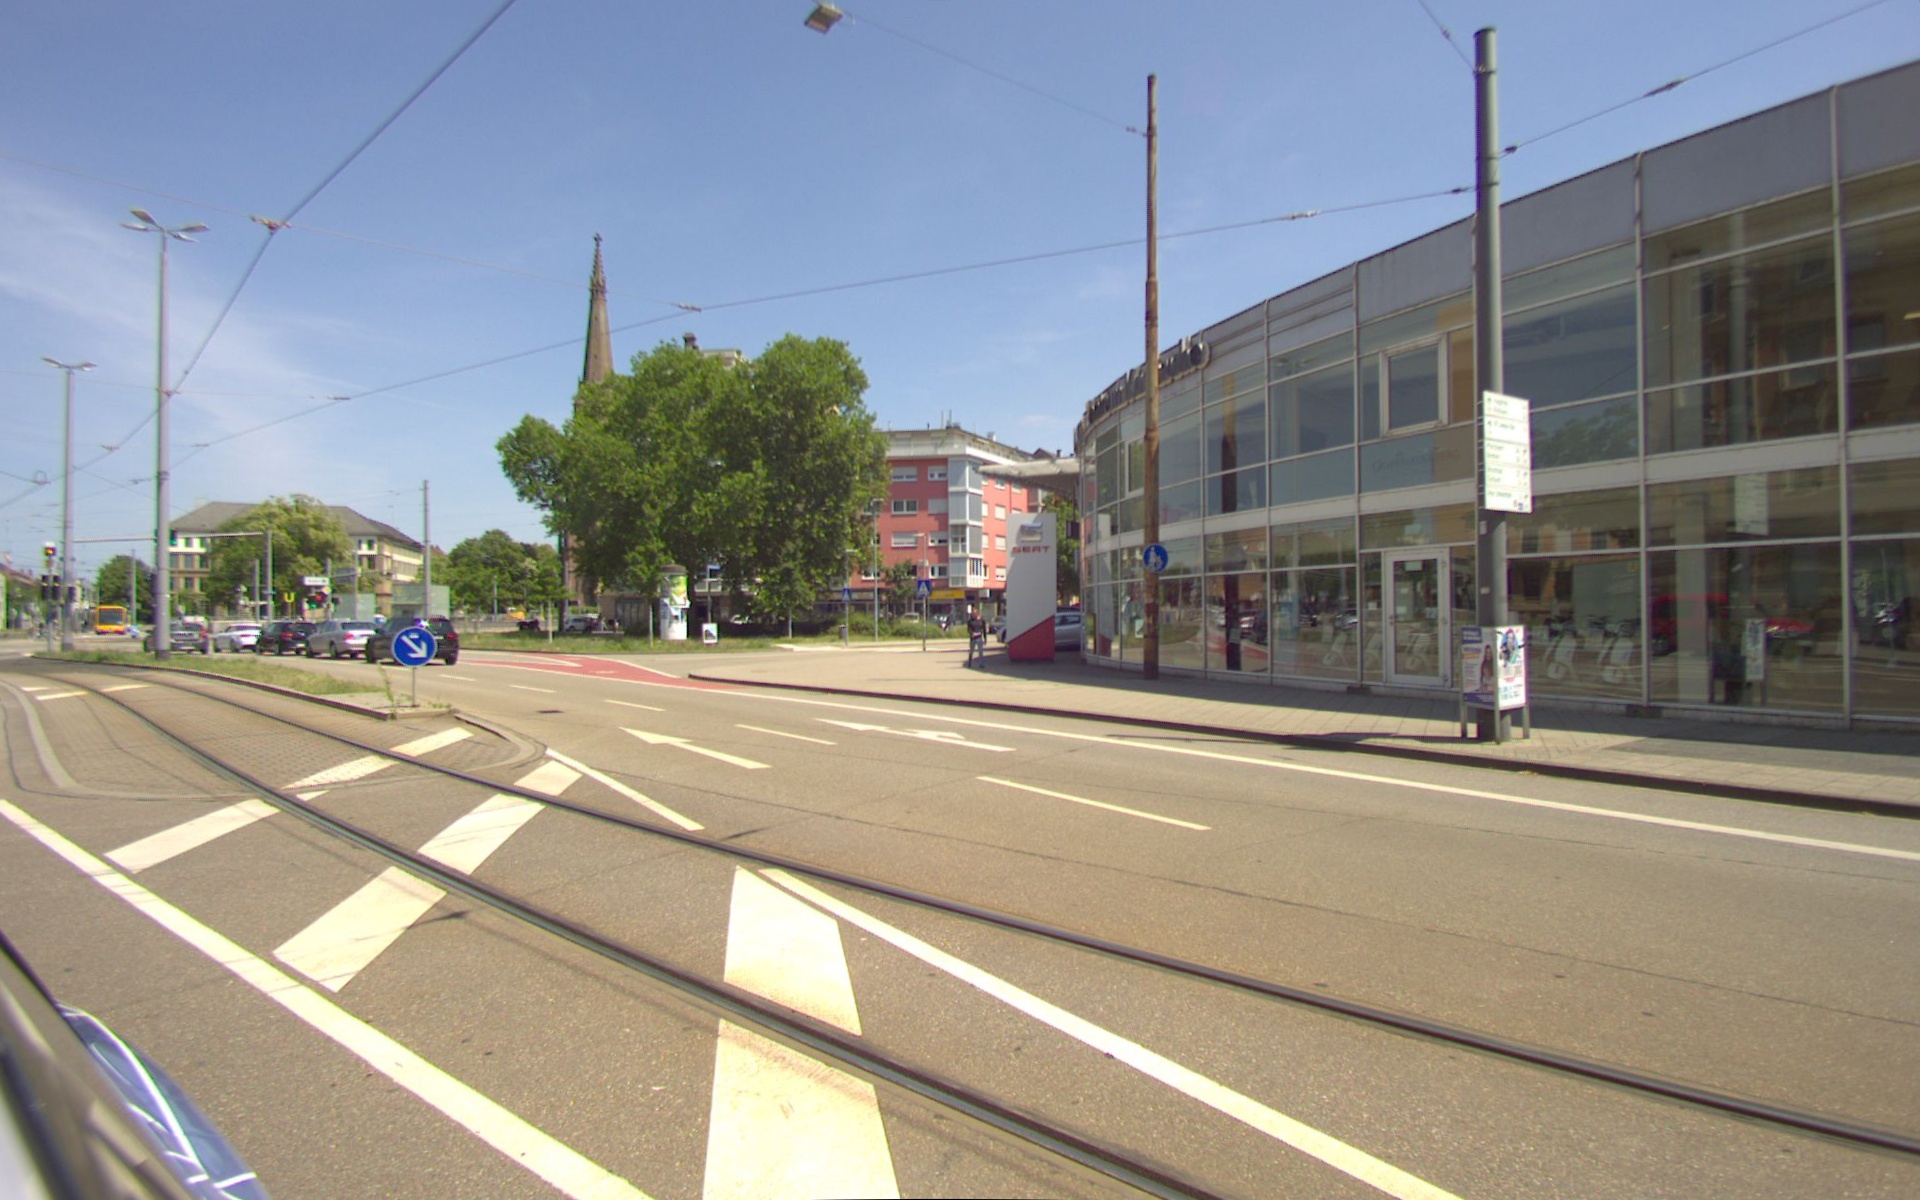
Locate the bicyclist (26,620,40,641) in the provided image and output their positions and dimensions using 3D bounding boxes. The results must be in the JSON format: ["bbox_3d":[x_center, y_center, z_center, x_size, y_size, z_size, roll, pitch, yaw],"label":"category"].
[{"bbox_3d":[-78.300,2.568,85.468,0.527,1.701,0.803,-2,-1,35],"label":"bicyclist"}]

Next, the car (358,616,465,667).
[{"bbox_3d":[-18.638,1.373,34.299,4.524,1.639,1.802,-2,-2,43],"label":"car"}]

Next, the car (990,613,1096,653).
[{"bbox_3d":[3.229,1.273,39.651,4.004,1.468,1.500,-1,-1,5],"label":"car"}]

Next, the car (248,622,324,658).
[{"bbox_3d":[-28.805,1.670,43.205,3.899,1.473,1.654,-2,-2,39],"label":"car"}]

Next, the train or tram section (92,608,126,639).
[{"bbox_3d":[-94.556,2.591,112.426,2.800,3.238,9.122,0,-1,-41],"label":"train or tram section"}]

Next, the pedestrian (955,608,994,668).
[{"bbox_3d":[0.416,1.054,28.638,0.820,1.654,0.720,-2,-1,43],"label":"pedestrian"}]

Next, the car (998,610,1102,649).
[{"bbox_3d":[3.847,1.247,43.083,4.150,1.431,1.604,-3,-1,16],"label":"car"}]

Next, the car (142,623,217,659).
[{"bbox_3d":[-34.813,1.822,45.089,4.327,1.491,1.824,-2,-2,41],"label":"car"}]

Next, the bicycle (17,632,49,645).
[{"bbox_3d":[-78.234,3.255,85.409,0.527,0.986,1.884,-2,-1,34],"label":"bicycle"}]

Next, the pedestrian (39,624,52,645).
[{"bbox_3d":[-77.168,2.916,85.406,0.447,1.684,0.651,-1,-1,24],"label":"pedestrian"}]

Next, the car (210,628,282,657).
[{"bbox_3d":[-33.802,1.971,47.894,4.198,1.309,1.690,-1,-2,39],"label":"car"}]

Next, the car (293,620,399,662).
[{"bbox_3d":[-24.081,1.567,39.614,5.126,1.542,1.973,-1,-2,40],"label":"car"}]
